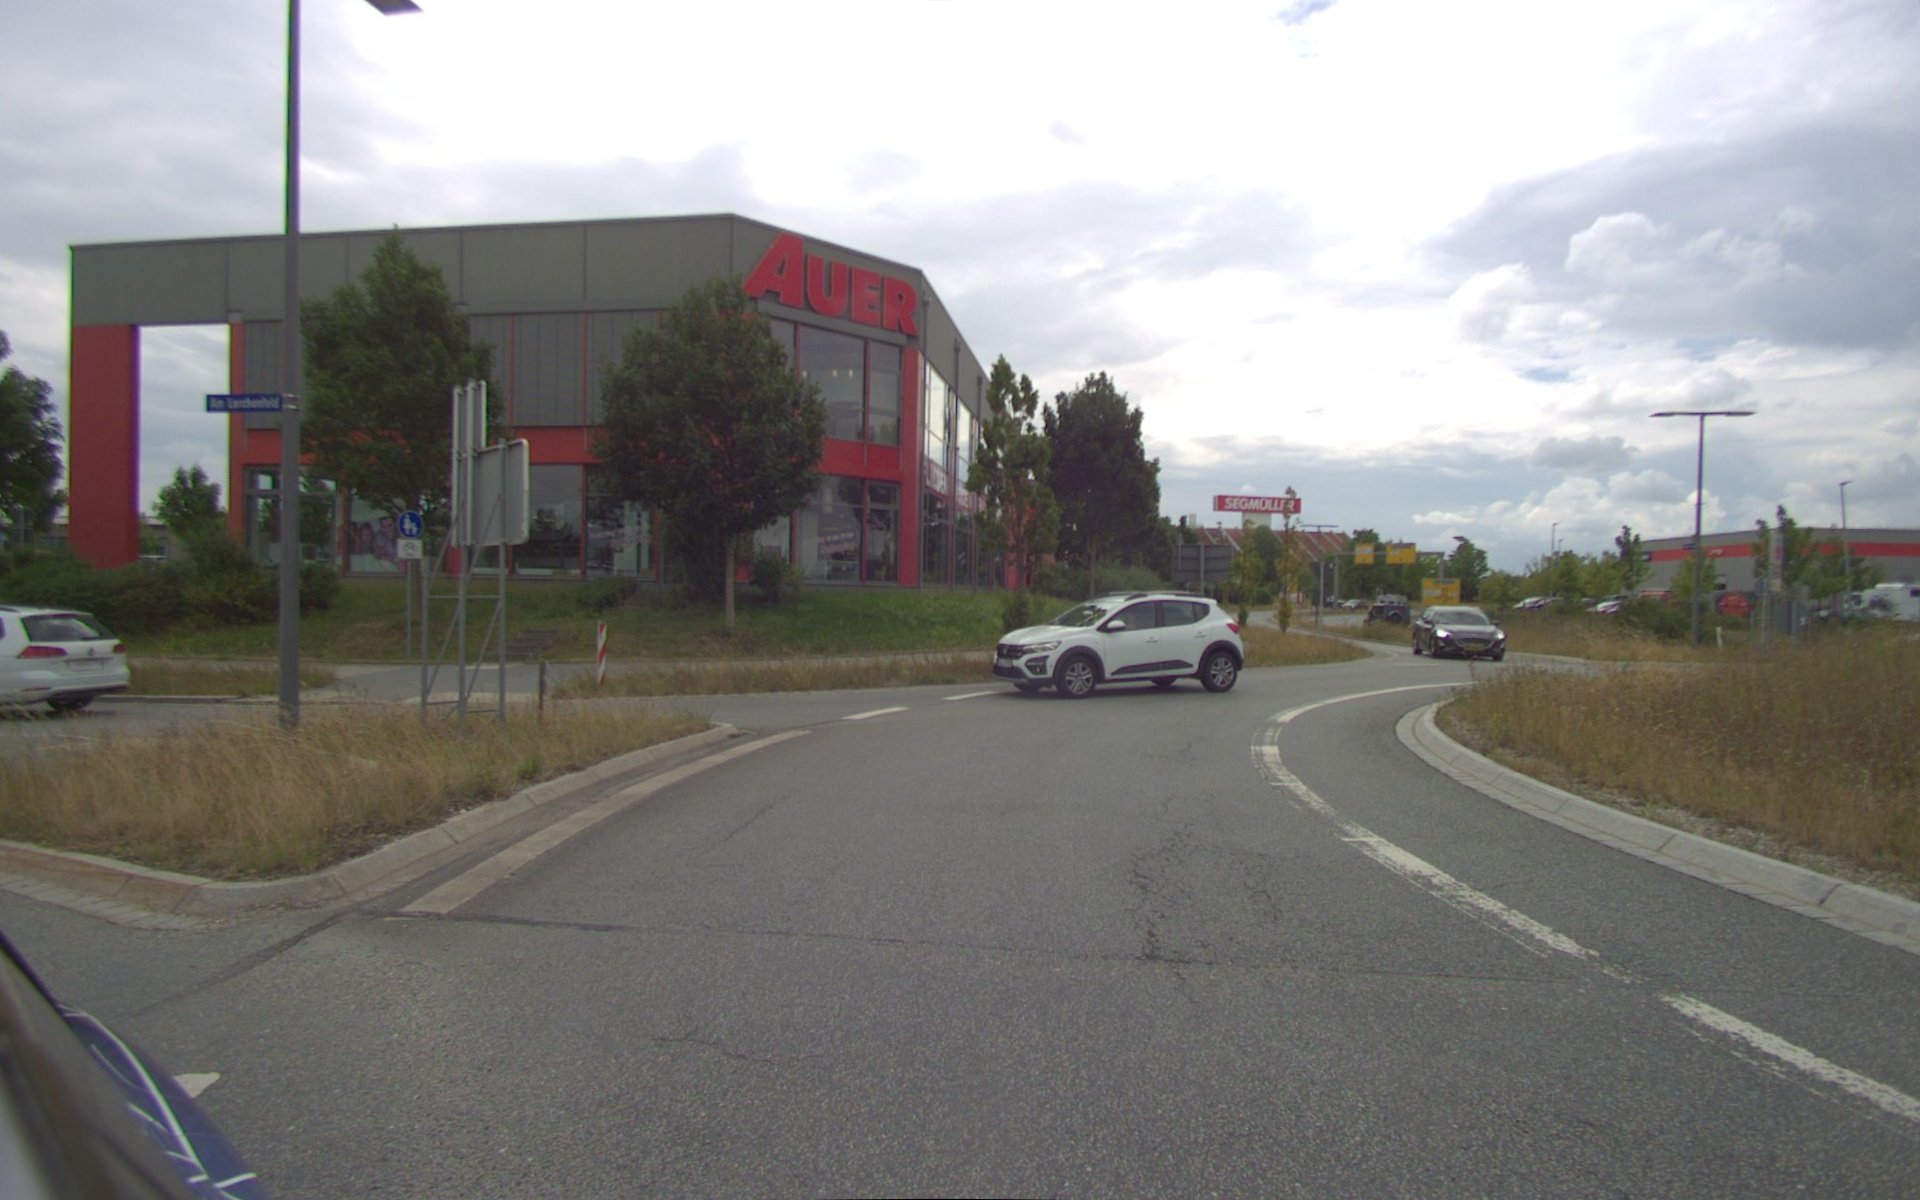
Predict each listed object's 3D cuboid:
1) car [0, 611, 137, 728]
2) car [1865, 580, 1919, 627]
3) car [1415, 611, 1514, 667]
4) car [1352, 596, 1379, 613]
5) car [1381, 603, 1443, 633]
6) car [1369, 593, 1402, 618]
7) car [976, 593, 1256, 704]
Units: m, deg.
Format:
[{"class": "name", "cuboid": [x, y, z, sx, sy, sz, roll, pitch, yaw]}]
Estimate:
[{"class": "car", "cuboid": [-13.817, 0.857, 13.336, 4.579, 1.419, 1.727, 0, 0, 1]}, {"class": "car", "cuboid": [62.164, 0.347, 63.697, 7.596, 2.840, 2.466, 2, 2, 7]}, {"class": "car", "cuboid": [14.040, 1.037, 28.357, 1.660, 1.260, 3.580, 3, 2, 14]}, {"class": "car", "cuboid": [33.073, 0.383, 82.565, 1.485, 1.311, 3.731, 1, 0, 13]}, {"class": "car", "cuboid": [25.797, 0.995, 57.910, 1.992, 1.563, 3.995, 1, 0, 4]}, {"class": "car", "cuboid": [44.561, 0.574, 105.870, 2.273, 2.404, 5.651, 3, 2, 31]}, {"class": "car", "cuboid": [2.457, 0.709, 15.876, 4.015, 1.570, 1.739, 1, 0, -24]}]
